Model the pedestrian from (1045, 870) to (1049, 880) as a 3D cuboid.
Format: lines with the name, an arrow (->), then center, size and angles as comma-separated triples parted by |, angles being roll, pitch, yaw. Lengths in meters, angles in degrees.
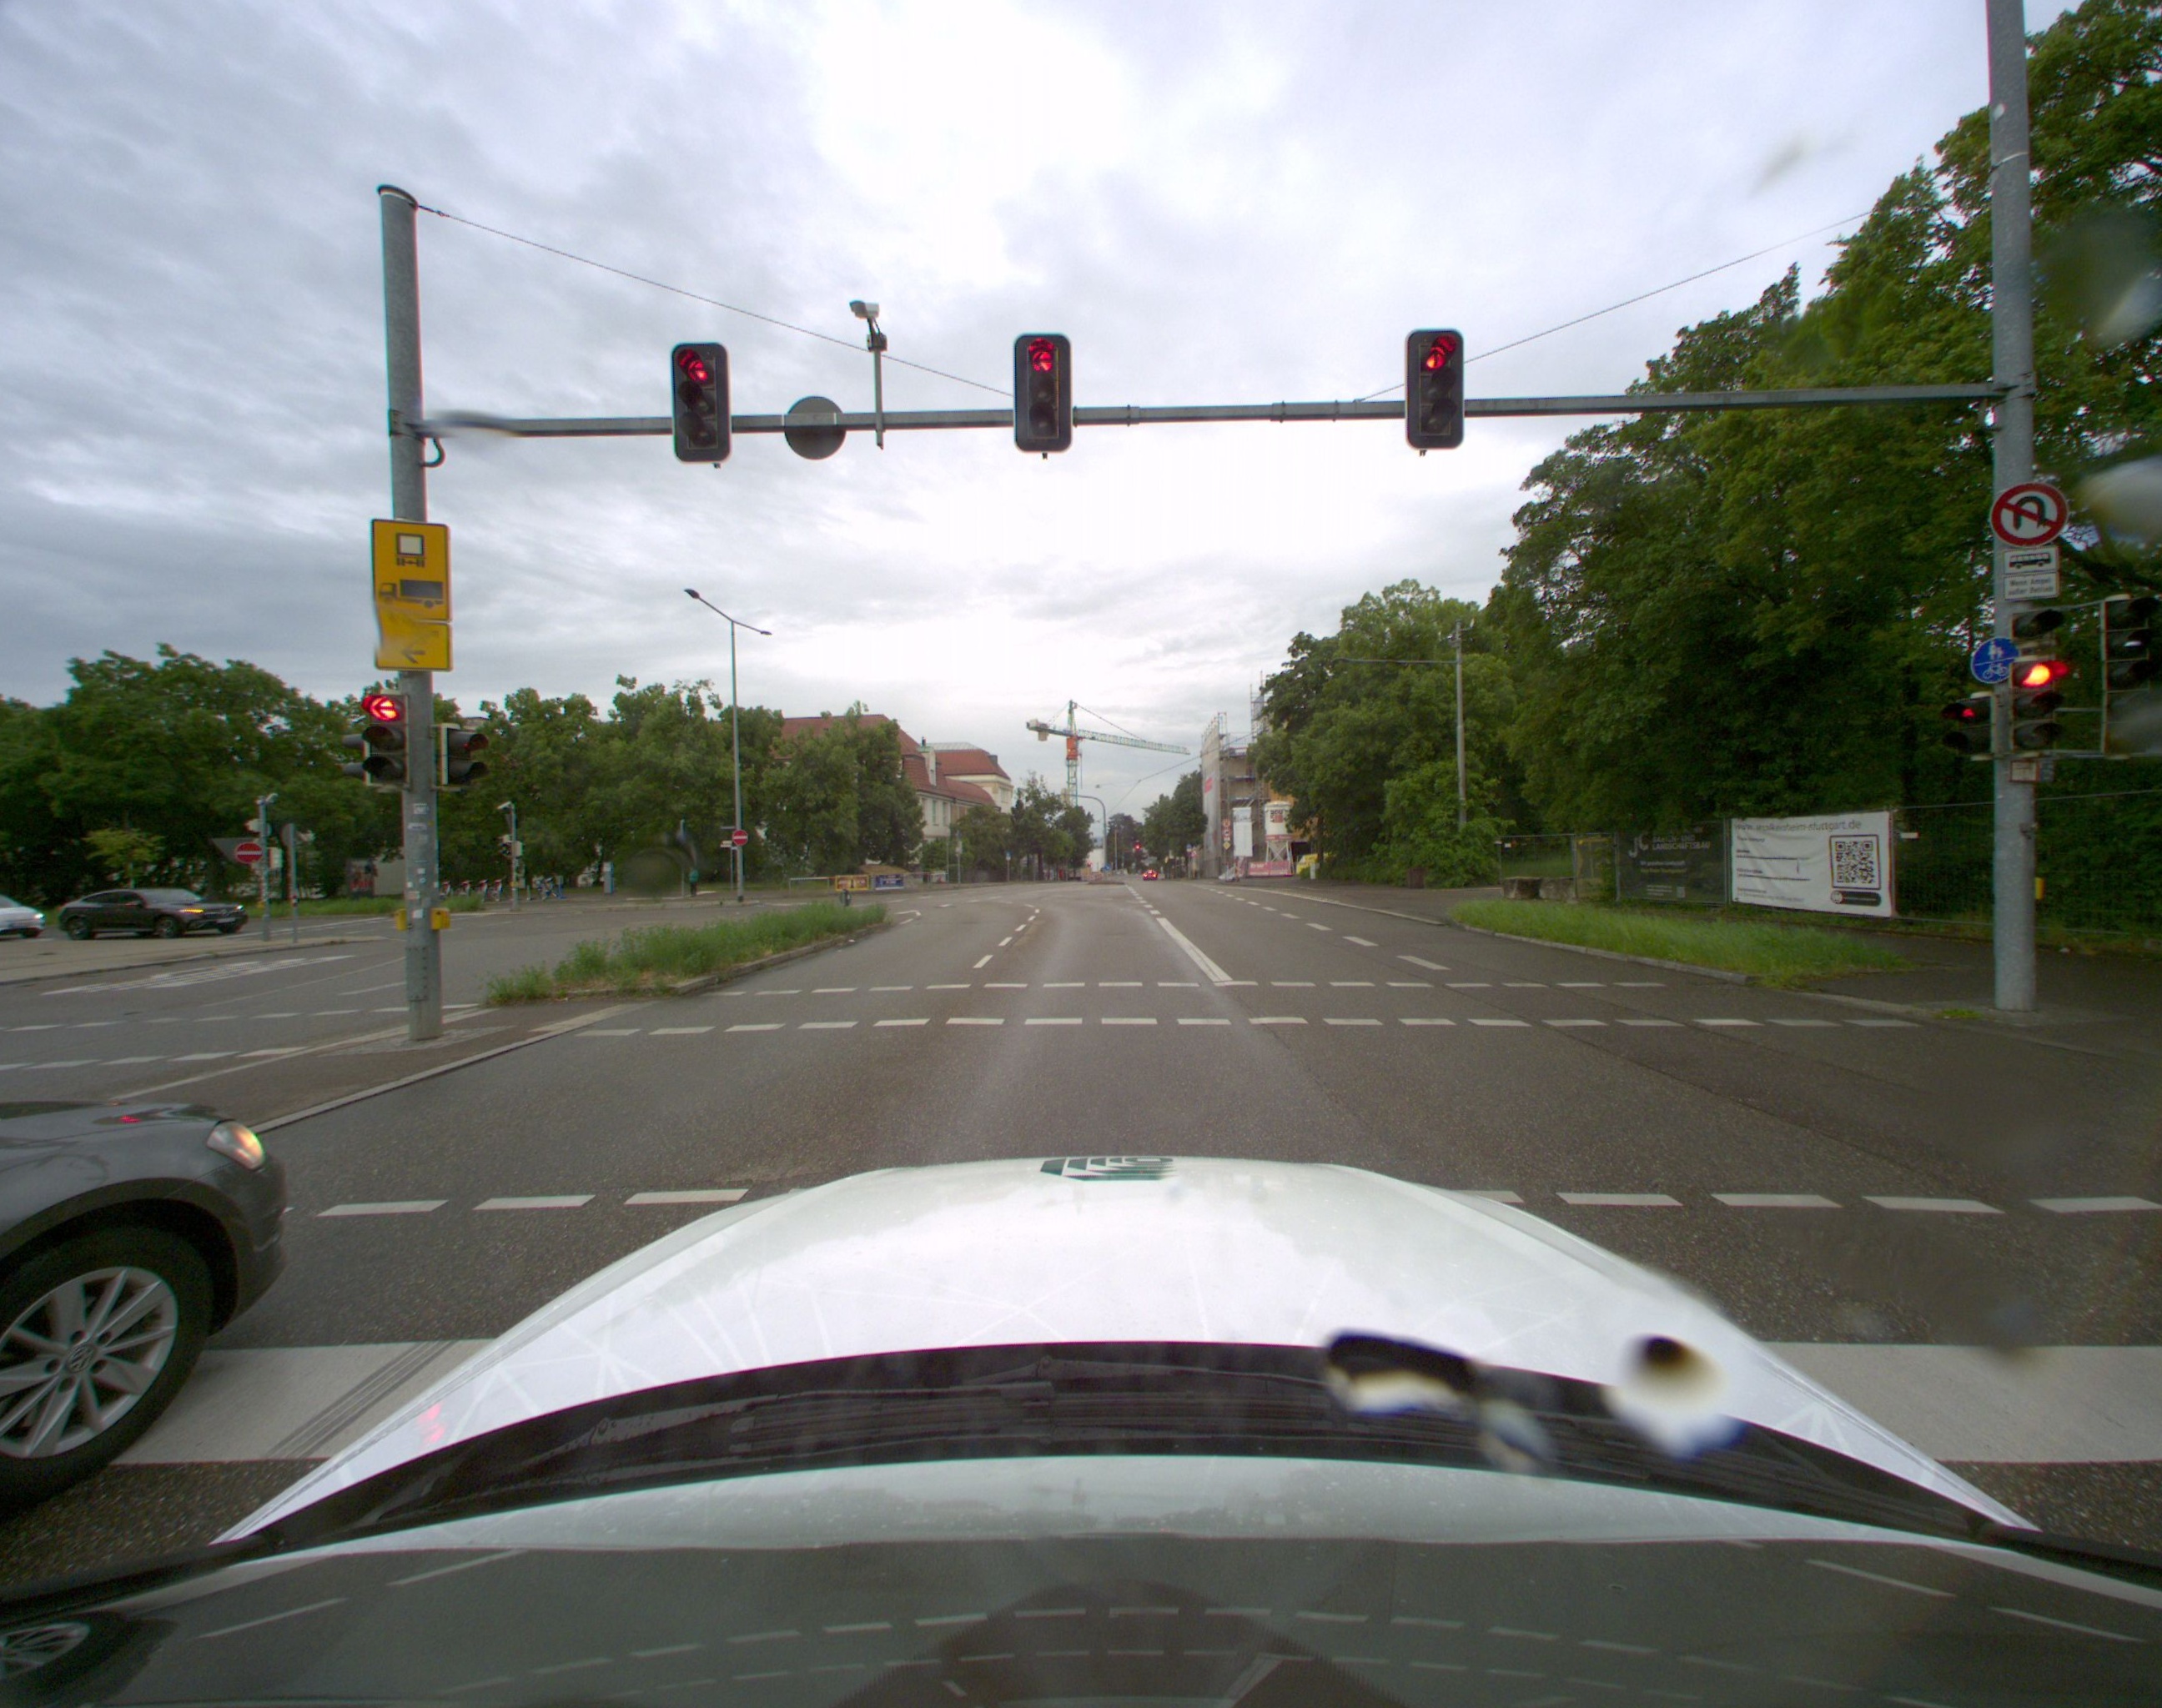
pedestrian -> -4.724, 3.005, 114.479 | 0.473, 1.396, 0.411 | -2, -1, 1

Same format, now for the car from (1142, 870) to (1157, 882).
car -> 10.464, 3.397, 124.923 | 1.986, 1.750, 4.001 | -2, 0, 1

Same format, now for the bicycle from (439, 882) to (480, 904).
bicycle -> -33.913, 2.117, 44.455 | 0.649, 1.071, 1.982 | 0, -1, 2

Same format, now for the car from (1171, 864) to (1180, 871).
car -> 25.432, 3.543, 218.961 | 1.980, 1.750, 4.014 | -2, 0, 13

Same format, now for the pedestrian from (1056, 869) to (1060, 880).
pedestrian -> -3.395, 3.008, 121.400 | 0.492, 1.645, 0.533 | 0, -1, -4

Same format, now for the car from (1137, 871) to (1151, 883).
car -> 10.214, 3.684, 131.767 | 1.986, 1.750, 4.001 | -2, 0, 1

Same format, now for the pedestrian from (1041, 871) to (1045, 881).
pedestrian -> -5.393, 3.032, 114.550 | 0.473, 1.396, 0.411 | -2, -1, 1

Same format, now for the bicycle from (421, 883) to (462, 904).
bicycle -> -34.992, 2.144, 44.586 | 0.649, 1.071, 1.982 | 0, -1, 2

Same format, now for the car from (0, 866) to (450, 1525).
car -> -3.407, 0.805, 0.943 | 1.809, 1.481, 4.378 | -2, 0, 2

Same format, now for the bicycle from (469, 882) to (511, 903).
bicycle -> -32.274, 2.069, 44.512 | 0.798, 1.071, 1.982 | 0, -1, 2

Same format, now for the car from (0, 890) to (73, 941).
car -> -36.501, 2.036, 27.056 | 3.539, 1.594, 2.001 | 0, -1, 1

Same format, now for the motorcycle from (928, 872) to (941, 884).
motorcycle -> -11.757, 1.917, 65.173 | 0.846, 0.877, 0.877 | 0, -1, 1

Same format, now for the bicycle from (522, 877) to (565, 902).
bicycle -> -29.441, 1.935, 44.621 | 0.987, 1.249, 1.982 | 0, -1, 2

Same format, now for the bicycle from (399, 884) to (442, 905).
bicycle -> -35.969, 2.179, 44.371 | 0.649, 1.071, 1.982 | 0, -1, 2

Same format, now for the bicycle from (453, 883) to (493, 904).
bicycle -> -33.024, 2.121, 44.281 | 0.649, 1.071, 1.982 | 0, -1, 2

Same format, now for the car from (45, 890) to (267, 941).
car -> -30.080, 1.985, 26.592 | 5.006, 1.500, 2.001 | 0, -1, 1

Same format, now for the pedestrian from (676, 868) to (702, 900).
pedestrian -> -21.620, 1.634, 44.903 | 0.918, 1.727, 0.947 | 0, -1, 5
